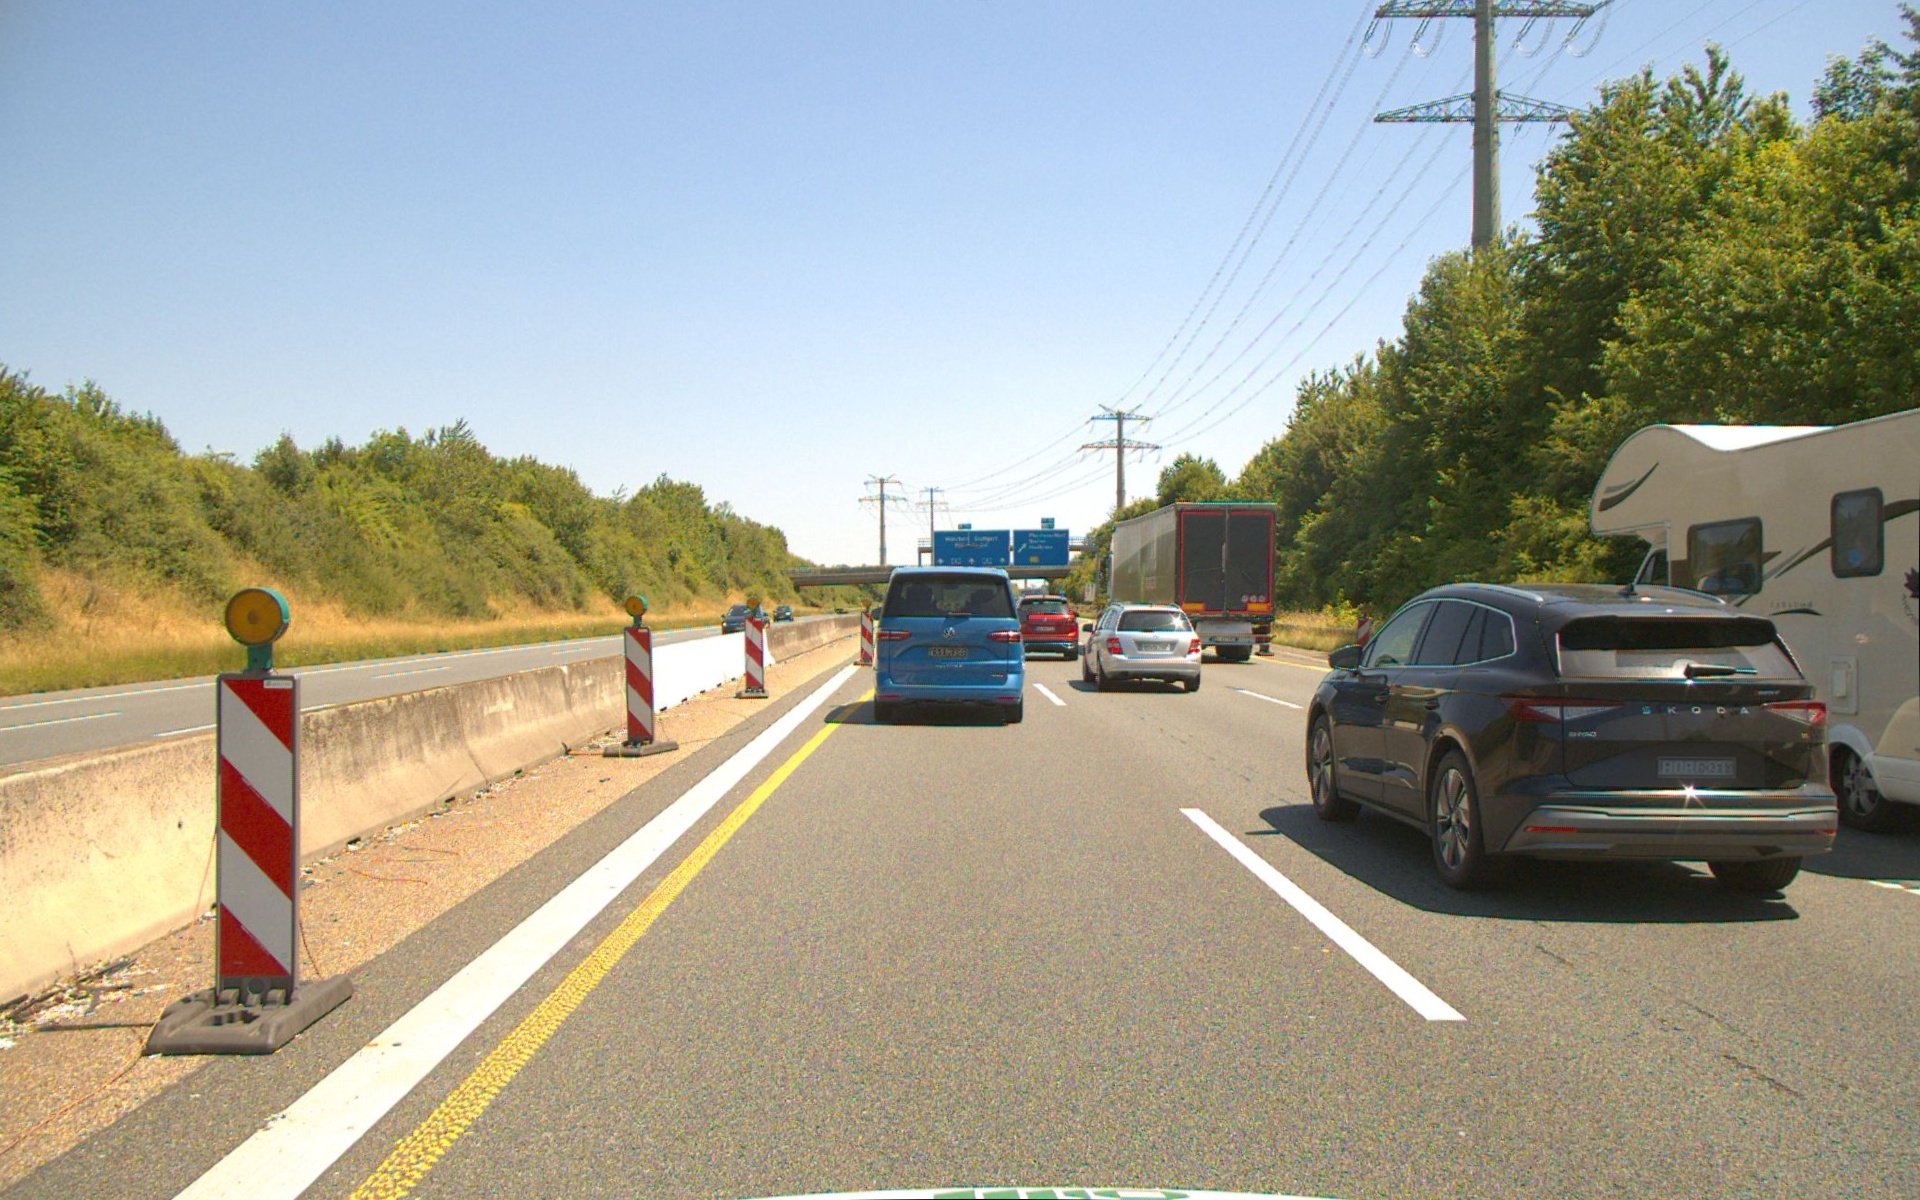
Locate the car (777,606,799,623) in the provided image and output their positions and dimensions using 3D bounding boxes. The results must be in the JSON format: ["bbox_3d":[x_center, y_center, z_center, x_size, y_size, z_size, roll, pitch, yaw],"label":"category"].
[{"bbox_3d":[-15.978,1.321,153.534,1.674,1.490,3.848,-2,0,-2],"label":"car"}]

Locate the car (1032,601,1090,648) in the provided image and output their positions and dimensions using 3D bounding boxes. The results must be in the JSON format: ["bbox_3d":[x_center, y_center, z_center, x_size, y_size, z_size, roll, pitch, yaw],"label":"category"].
[{"bbox_3d":[3.684,0.873,60.651,1.761,1.622,4.226,1,0,-1],"label":"car"}]

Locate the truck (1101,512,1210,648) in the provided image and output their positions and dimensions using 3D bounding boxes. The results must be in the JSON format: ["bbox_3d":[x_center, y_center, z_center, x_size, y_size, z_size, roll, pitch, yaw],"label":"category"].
[{"bbox_3d":[6.246,-0.605,53.532,2.677,4.118,5.792,1,0,-1],"label":"truck"}]

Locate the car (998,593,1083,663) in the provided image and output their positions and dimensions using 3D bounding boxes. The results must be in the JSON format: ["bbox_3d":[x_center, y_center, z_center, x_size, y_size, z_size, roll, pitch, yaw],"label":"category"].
[{"bbox_3d":[2.040,0.694,43.148,1.837,1.700,4.358,1,0,-2],"label":"car"}]

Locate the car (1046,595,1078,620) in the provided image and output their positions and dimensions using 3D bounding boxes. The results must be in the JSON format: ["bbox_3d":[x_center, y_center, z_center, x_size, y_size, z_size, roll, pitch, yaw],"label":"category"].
[{"bbox_3d":[6.293,0.465,102.173,1.666,1.473,3.786,1,0,-1],"label":"car"}]

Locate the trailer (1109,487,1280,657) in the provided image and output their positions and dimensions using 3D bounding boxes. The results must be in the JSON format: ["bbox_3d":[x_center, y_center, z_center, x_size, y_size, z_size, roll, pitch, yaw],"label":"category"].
[{"bbox_3d":[6.344,-0.663,47.048,2.727,4.118,13.108,1,0,-1],"label":"trailer"}]

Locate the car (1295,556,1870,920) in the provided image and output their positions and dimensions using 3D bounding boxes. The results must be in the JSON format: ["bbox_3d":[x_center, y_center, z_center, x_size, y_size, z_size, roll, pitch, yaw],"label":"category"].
[{"bbox_3d":[3.394,0.661,10.015,1.666,1.684,4.428,1,0,-2],"label":"car"}]

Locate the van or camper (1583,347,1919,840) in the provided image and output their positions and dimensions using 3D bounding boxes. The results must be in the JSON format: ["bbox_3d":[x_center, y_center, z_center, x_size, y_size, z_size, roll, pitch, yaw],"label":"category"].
[{"bbox_3d":[7.169,-0.019,11.975,2.321,3.097,7.631,1,0,-1],"label":"van or camper"}]

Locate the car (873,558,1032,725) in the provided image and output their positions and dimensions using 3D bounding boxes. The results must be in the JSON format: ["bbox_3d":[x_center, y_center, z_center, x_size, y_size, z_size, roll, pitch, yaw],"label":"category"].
[{"bbox_3d":[-0.161,0.499,21.705,1.837,1.945,4.358,1,0,-2],"label":"car"}]

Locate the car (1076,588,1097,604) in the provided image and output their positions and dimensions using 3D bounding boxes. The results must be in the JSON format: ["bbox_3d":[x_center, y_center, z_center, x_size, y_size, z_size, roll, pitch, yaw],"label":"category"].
[{"bbox_3d":[14.216,-0.455,185.926,1.837,1.700,4.358,1,0,-2],"label":"car"}]

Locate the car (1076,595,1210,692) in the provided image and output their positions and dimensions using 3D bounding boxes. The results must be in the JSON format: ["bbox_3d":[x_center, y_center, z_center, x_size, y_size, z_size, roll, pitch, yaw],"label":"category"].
[{"bbox_3d":[3.162,0.723,29.301,1.735,1.544,4.358,1,0,-2],"label":"car"}]

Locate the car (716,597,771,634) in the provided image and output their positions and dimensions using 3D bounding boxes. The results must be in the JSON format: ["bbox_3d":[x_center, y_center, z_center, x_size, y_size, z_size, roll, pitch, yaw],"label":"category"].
[{"bbox_3d":[-9.290,0.636,71.274,1.824,1.516,4.492,-1,0,-1],"label":"car"}]
